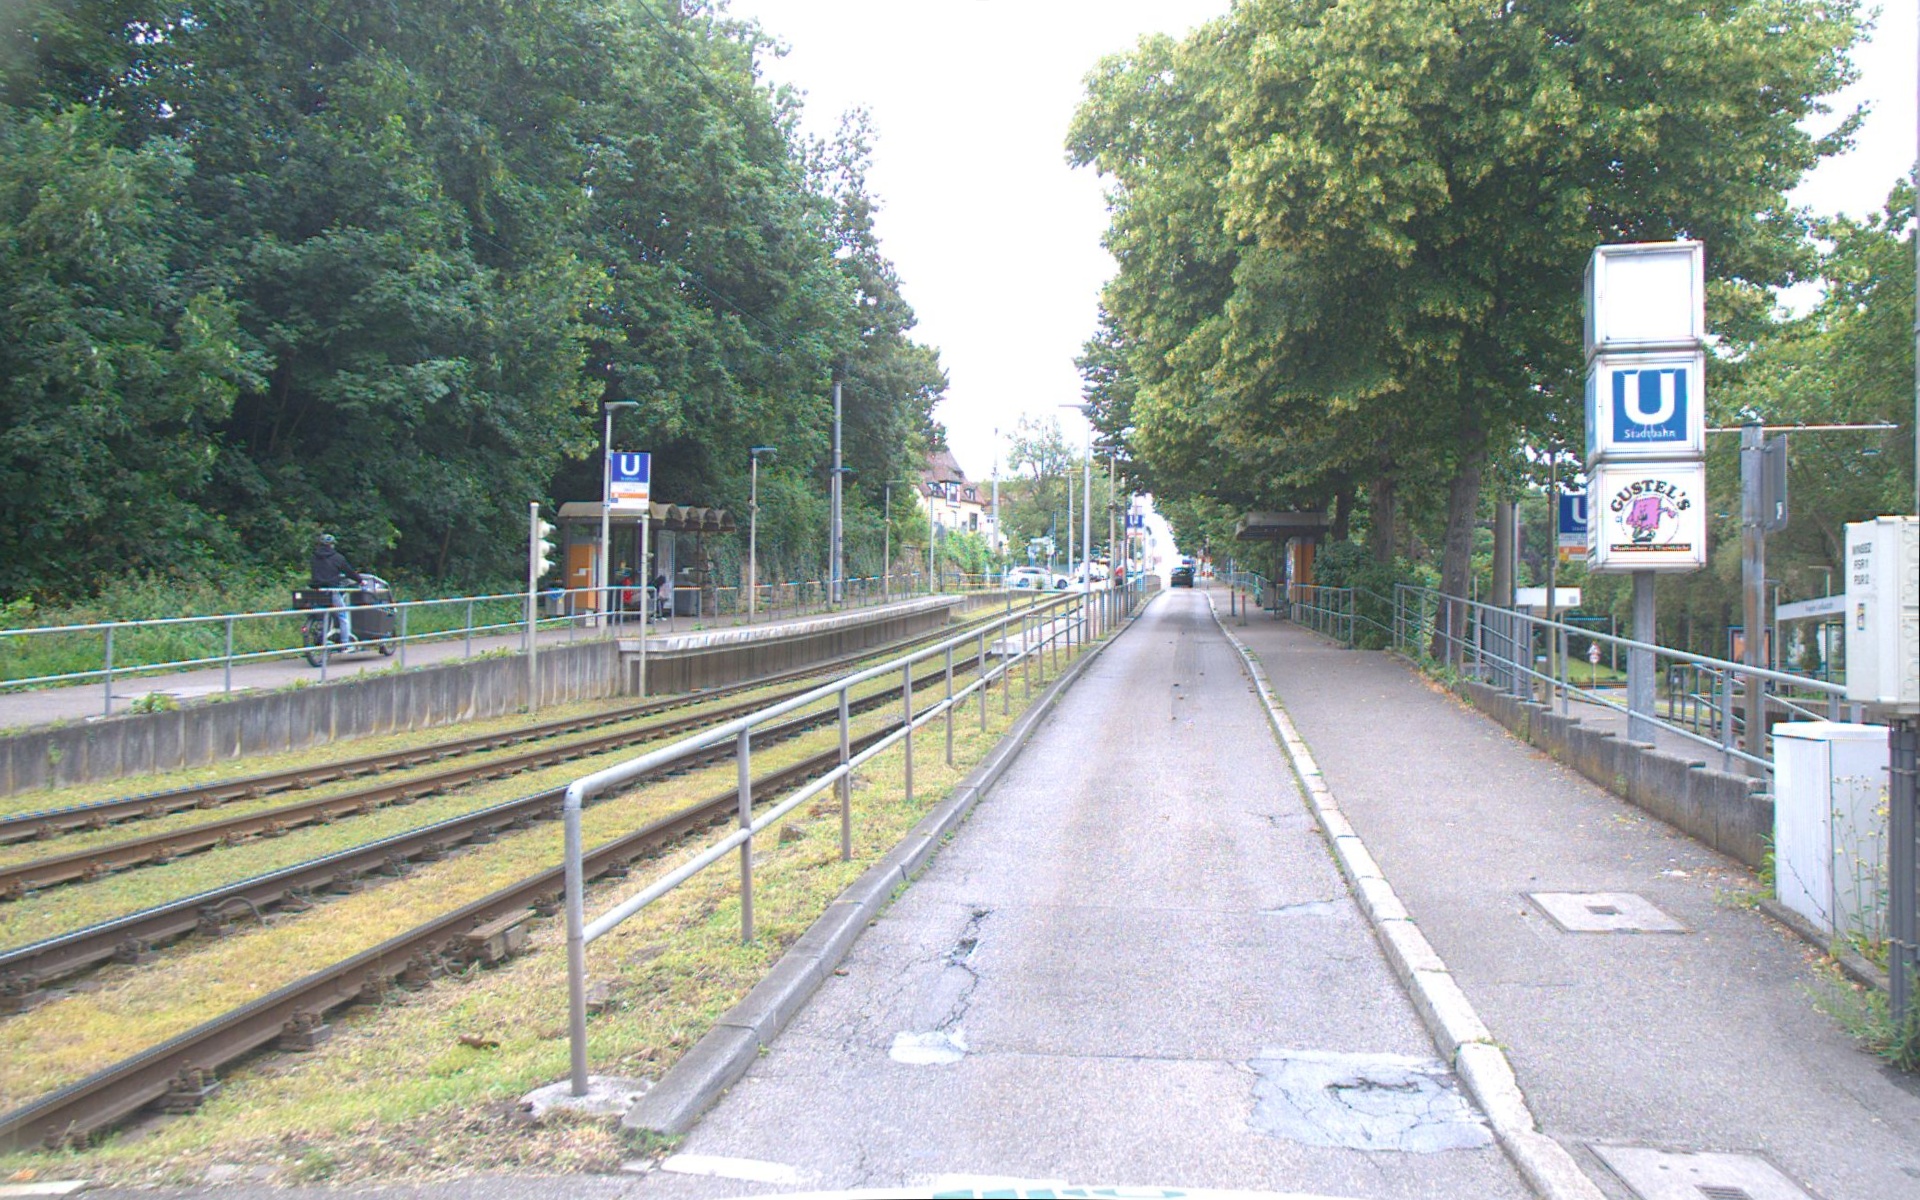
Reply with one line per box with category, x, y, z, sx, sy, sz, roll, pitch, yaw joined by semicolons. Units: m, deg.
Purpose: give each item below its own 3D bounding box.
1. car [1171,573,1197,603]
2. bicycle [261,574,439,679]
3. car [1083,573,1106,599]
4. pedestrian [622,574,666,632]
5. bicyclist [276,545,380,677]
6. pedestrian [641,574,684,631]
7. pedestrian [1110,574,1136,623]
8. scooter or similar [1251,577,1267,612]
car;18.119;-0.965;133.735;1.951;2.183;4.002;3;-2;8
bicycle;-8.620;0.330;23.607;0.717;1.311;3.350;3;2;11
car;13.052;-1.365;160.466;1.951;2.183;4.002;3;-2;8
pedestrian;-7.611;0.069;39.852;0.755;1.349;0.788;3;0;8
bicyclist;-8.750;0.129;22.947;0.717;1.741;1.294;3;2;11
pedestrian;-7.372;0.072;40.978;0.755;1.349;0.787;3;-2;8
pedestrian;5.070;-0.053;51.480;0.726;1.434;0.747;3;2;8
scooter or similar;10.389;-0.179;57.418;0.335;1.177;1.147;3;-2;2
